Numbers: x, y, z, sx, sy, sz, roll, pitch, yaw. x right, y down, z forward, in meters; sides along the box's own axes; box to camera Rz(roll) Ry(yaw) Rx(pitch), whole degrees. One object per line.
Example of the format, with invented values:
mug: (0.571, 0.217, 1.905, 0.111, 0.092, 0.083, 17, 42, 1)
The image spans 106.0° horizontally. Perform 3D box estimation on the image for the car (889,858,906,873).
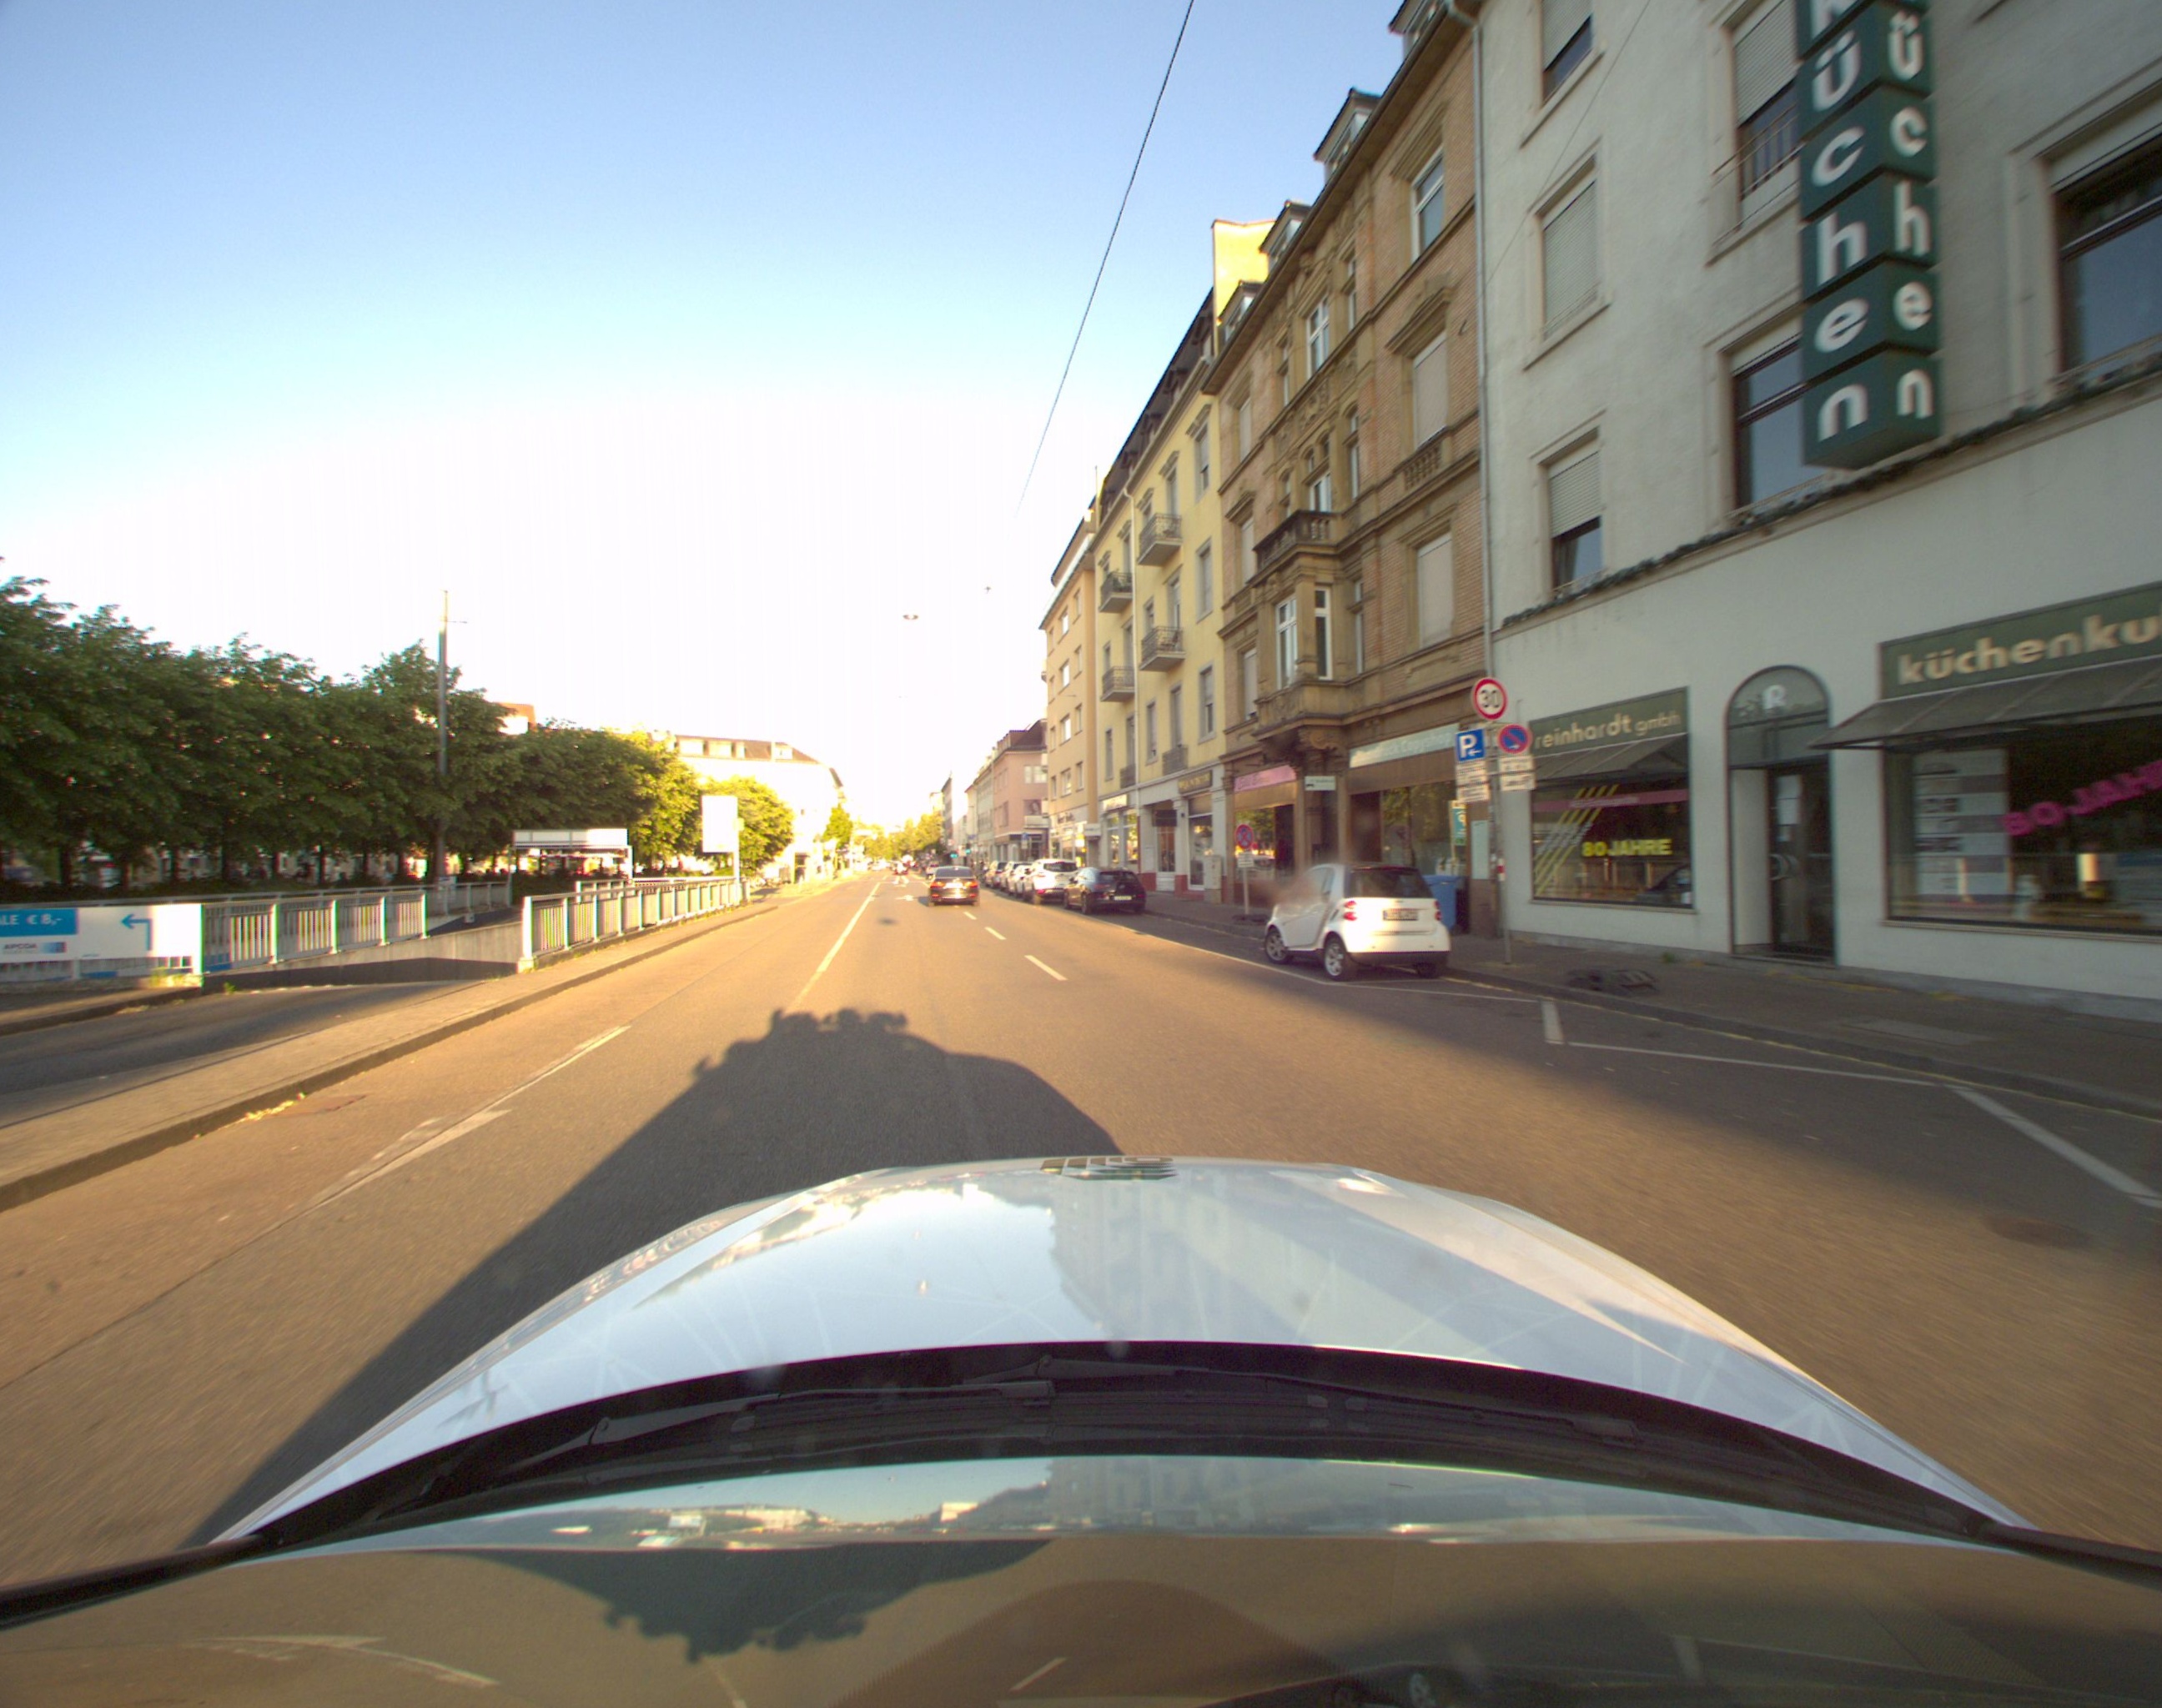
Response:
car: (-23.138, 1.440, 102.749, 1.996, 1.750, 3.982, 0, 0, -13)

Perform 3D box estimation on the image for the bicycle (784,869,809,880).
bicycle: (-31.119, 2.220, 89.227, 2.529, 1.146, 0.697, -1, -1, -16)

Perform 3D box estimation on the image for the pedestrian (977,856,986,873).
pedestrian: (-10.604, 1.120, 86.933, 0.759, 1.777, 1.042, 0, -1, -18)

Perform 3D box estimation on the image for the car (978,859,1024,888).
car: (-4.783, 1.127, 48.288, 1.997, 1.613, 4.779, -1, -1, -15)

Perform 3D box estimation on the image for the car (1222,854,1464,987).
car: (3.711, 0.828, 12.320, 1.702, 1.585, 3.982, -1, 1, -13)

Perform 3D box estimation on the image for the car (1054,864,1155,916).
car: (0.606, 1.042, 25.430, 1.996, 1.434, 4.828, 0, 0, -13)

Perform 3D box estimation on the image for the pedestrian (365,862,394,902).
pedestrian: (-34.959, 1.378, 40.571, 0.801, 1.948, 0.729, -1, -1, -6)

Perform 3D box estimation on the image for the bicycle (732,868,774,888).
bicycle: (-20.823, 1.525, 51.784, 2.435, 1.237, 0.460, 0, -1, -16)

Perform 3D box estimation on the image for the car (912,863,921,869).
car: (-40.604, 3.006, 201.127, 1.898, 1.596, 3.978, 0, -1, -16)

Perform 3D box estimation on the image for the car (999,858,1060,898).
car: (-2.387, 1.019, 36.762, 2.018, 1.543, 4.848, -1, 1, -13)

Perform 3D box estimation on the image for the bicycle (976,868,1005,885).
bicycle: (-6.194, 1.530, 55.502, 1.888, 1.113, 0.590, 0, -2, -17)

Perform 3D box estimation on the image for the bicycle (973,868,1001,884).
bicycle: (-6.490, 1.506, 56.285, 1.888, 1.112, 0.518, 0, -1, -17)

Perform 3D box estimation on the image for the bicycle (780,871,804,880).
bicycle: (-30.009, 2.249, 84.589, 2.332, 0.919, 0.697, -1, -1, -16)

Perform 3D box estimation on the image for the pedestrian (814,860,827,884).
pedestrian: (-19.119, 1.319, 59.786, 0.886, 1.720, 0.709, 0, -1, -25)

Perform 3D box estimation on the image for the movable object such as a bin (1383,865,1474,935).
movable object such as a bin: (6.338, 0.814, 14.938, 0.867, 1.186, 1.391, -1, 0, -14)

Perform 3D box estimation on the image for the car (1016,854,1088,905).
car: (-1.197, 0.894, 31.126, 1.884, 1.745, 4.638, -1, 1, -13)

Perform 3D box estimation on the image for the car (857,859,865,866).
car: (-57.301, 2.196, 211.768, 1.829, 2.014, 3.661, 0, -1, -12)

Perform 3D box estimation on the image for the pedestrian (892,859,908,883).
pedestrian: (-13.142, 1.225, 59.131, 0.876, 1.720, 0.751, 0, -1, -38)

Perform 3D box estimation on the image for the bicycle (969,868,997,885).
bicycle: (-6.951, 1.607, 57.700, 1.888, 1.167, 0.719, -1, -1, -17)

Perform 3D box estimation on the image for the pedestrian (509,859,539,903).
pedestrian: (-25.135, 1.211, 36.756, 0.800, 1.948, 0.730, -1, -1, -1)

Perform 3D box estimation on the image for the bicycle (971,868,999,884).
bicycle: (-6.915, 1.592, 58.539, 1.888, 1.112, 0.758, 0, -1, -17)

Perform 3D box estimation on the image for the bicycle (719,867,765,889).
bicycle: (-20.659, 1.451, 49.576, 2.490, 1.284, 0.817, 0, -1, 7)

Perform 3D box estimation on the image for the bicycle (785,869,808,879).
bicycle: (-31.903, 2.242, 91.218, 2.325, 1.131, 0.796, -1, -1, -12)

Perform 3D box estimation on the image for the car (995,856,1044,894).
car: (-3.261, 1.050, 42.481, 1.870, 1.762, 4.388, -1, 1, -14)

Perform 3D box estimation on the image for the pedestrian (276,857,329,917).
pedestrian: (-26.657, 1.127, 27.900, 0.906, 2.014, 0.921, 0, -1, 9)

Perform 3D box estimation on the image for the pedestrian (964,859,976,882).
pedestrian: (-8.592, 1.289, 63.132, 0.797, 1.720, 0.807, 0, -1, -19)

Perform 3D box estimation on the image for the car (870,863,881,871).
car: (-39.251, 2.518, 155.885, 1.895, 1.596, 3.984, 0, -1, -12)

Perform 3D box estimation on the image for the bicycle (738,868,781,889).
bicycle: (-20.236, 1.544, 51.230, 2.435, 1.237, 0.515, 1, -1, -16)

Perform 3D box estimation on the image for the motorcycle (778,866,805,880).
motorcycle: (-29.027, 1.888, 81.609, 2.417, 1.426, 1.107, -1, -1, -15)

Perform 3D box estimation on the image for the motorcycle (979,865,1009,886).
motorcycle: (-5.729, 1.419, 53.519, 1.816, 1.263, 0.712, -2, 0, -16)

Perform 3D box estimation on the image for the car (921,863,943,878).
car: (-17.294, 1.871, 94.273, 2.337, 1.604, 3.876, 0, 0, -13)

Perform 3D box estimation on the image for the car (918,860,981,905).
car: (-4.835, 0.983, 29.566, 1.892, 1.492, 4.183, 0, -1, -15)

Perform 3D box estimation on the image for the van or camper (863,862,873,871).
van or camper: (-58.473, 3.310, 223.337, 2.478, 2.405, 3.977, 0, -1, -17)

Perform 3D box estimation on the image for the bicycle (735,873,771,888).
bicycle: (-21.045, 1.703, 52.327, 2.047, 0.971, 0.632, 2, -1, -16)

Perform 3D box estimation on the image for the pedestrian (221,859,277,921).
pedestrian: (-27.264, 1.166, 26.700, 0.906, 2.014, 0.921, 0, -1, 9)

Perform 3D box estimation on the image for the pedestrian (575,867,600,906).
pedestrian: (-24.855, 1.635, 41.027, 0.800, 1.948, 0.730, -1, -1, -1)

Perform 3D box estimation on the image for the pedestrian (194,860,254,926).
pedestrian: (-26.877, 1.205, 25.541, 0.906, 2.014, 0.921, 0, -1, 9)

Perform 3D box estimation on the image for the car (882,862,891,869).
car: (-48.460, 2.885, 203.009, 1.995, 1.750, 3.984, 0, -1, -12)

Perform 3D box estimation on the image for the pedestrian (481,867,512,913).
pedestrian: (-25.049, 1.523, 34.920, 0.800, 1.948, 0.730, -1, -1, -1)
